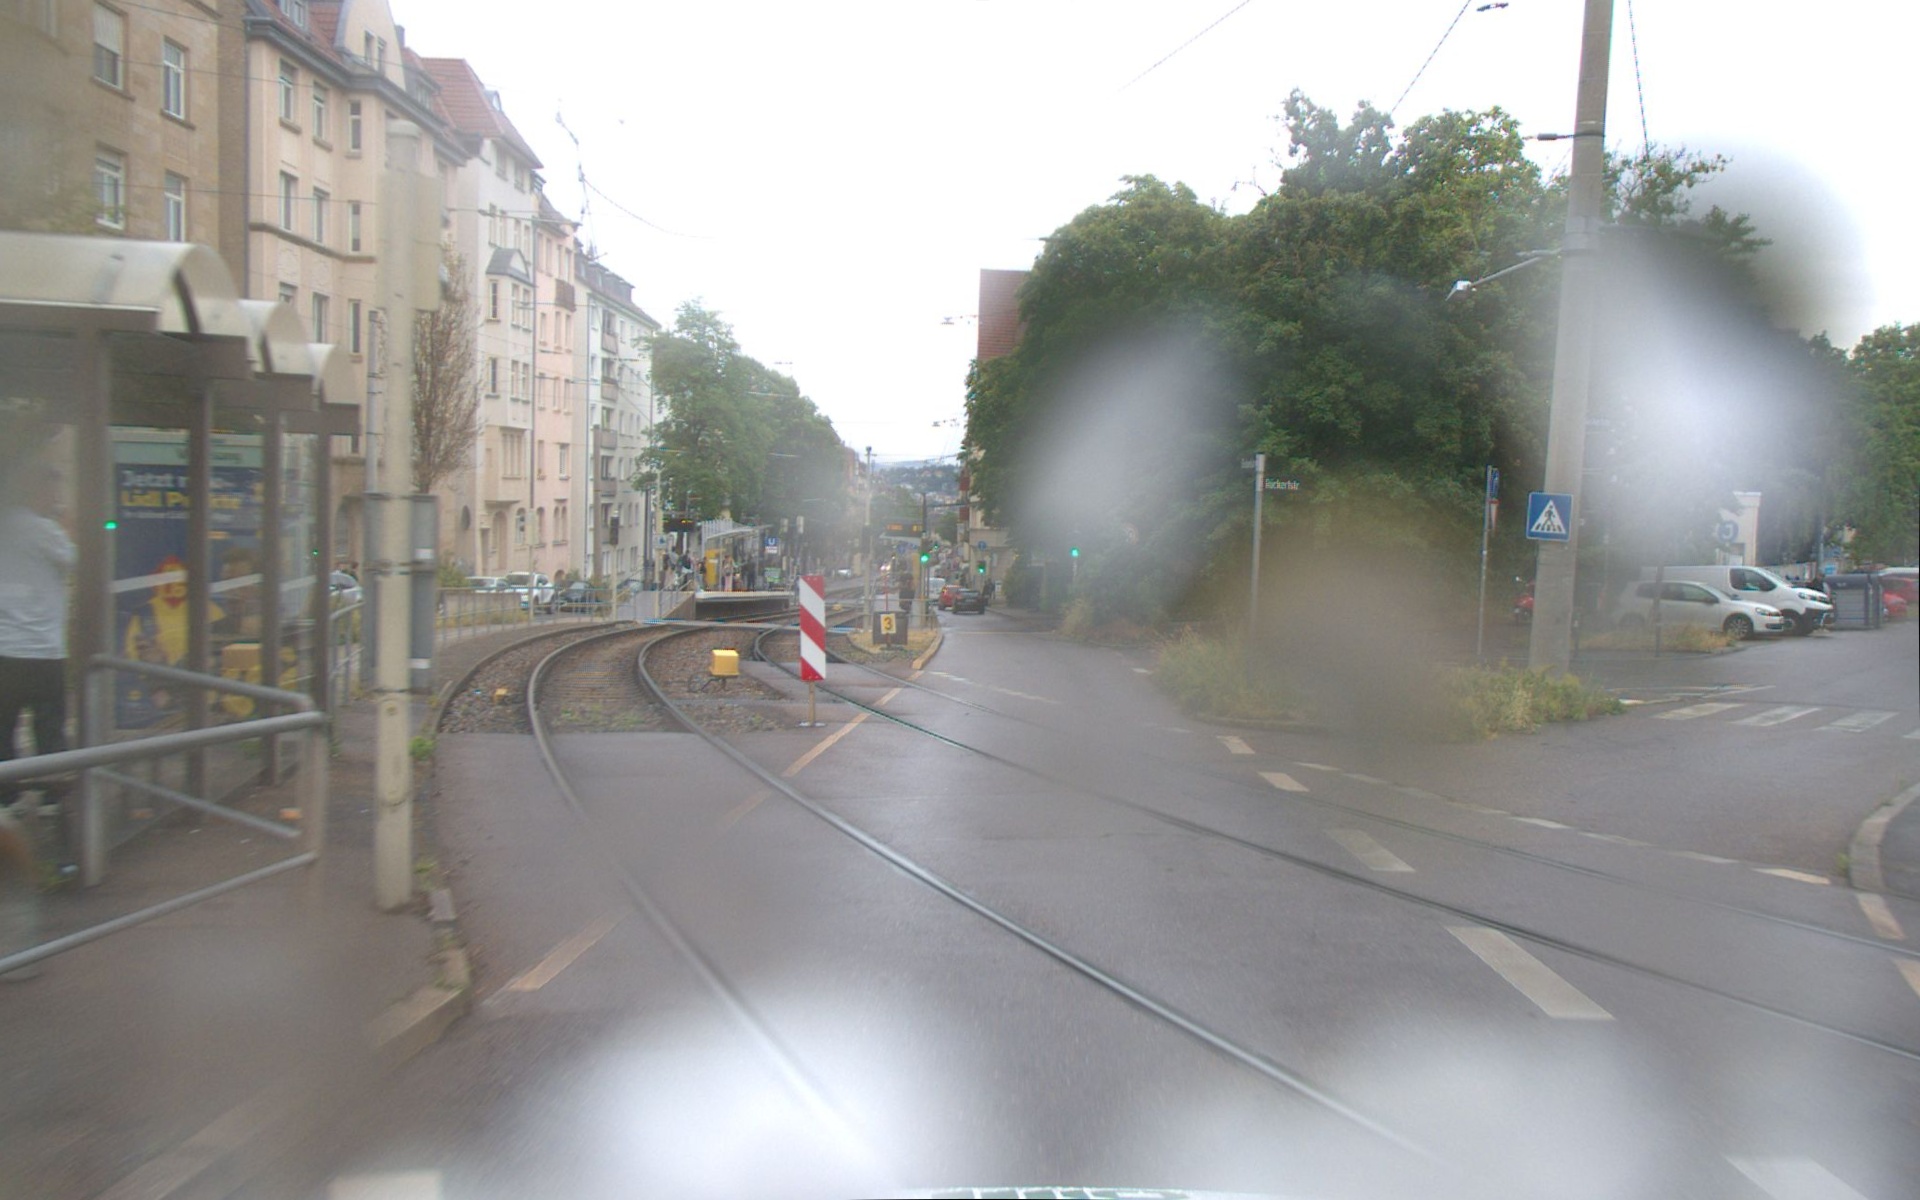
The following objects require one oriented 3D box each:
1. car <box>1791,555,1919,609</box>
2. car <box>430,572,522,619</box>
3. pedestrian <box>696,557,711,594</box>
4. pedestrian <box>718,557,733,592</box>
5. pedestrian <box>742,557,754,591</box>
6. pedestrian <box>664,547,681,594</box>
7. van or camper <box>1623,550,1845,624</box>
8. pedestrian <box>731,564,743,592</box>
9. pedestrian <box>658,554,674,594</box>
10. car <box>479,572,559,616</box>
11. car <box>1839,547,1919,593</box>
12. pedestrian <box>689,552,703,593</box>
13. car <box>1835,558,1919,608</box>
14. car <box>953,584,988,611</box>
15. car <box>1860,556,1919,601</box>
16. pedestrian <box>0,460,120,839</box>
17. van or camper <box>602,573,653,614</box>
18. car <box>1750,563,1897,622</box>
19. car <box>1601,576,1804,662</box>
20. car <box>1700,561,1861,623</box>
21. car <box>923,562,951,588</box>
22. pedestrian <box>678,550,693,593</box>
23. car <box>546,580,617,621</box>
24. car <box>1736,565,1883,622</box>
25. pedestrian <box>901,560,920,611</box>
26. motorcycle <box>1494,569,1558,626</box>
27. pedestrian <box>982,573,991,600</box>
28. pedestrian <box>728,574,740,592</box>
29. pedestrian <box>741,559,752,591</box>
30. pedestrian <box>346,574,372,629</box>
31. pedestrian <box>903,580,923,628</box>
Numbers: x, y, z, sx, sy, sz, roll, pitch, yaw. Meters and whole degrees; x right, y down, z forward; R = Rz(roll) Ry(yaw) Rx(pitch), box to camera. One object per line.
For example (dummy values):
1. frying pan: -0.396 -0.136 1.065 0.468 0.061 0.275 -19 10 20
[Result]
1. car: 31.641 -0.648 58.266 3.928 1.802 1.837 2 2 41
2. car: -17.519 -0.135 60.074 1.953 1.559 4.532 3 -1 0
3. pedestrian: -12.043 -1.157 77.753 0.582 1.695 0.762 -1 0 -1
4. pedestrian: -11.517 -1.247 81.191 0.582 1.695 0.762 -1 0 -1
5. pedestrian: -11.258 -1.386 87.982 0.539 1.771 0.614 -1 0 -1
6. pedestrian: -11.608 -1.184 66.809 0.549 1.882 0.598 -1 0 -1
7. van or camper: 20.868 -0.328 44.736 5.092 1.866 1.987 -1 0 44
8. pedestrian: -11.704 -1.155 86.720 0.539 1.438 0.614 -1 0 -1
9. pedestrian: -11.968 -1.054 67.377 0.505 1.633 0.563 -1 0 -1
10. car: -17.475 -0.267 65.705 1.883 1.650 4.535 -1 1 1
11. car: 37.399 -1.209 65.874 3.928 1.802 1.837 2 2 41
12. pedestrian: -12.010 -1.237 75.217 0.505 1.870 0.762 -1 0 -1
13. car: 35.123 -0.659 61.864 3.928 1.802 1.837 2 2 41
14. car: 0.597 -0.151 94.799 1.814 1.499 3.999 0 1 -2
15. car: 39.601 -0.887 68.350 3.928 1.802 1.837 2 2 41
16. pedestrian: -4.526 0.234 8.070 0.566 1.782 0.542 2 0 -12
17. van or camper: -17.476 -0.369 86.971 1.953 2.049 3.999 0 1 -2
18. car: 28.043 -0.282 53.758 3.928 1.802 1.837 2 2 41
19. car: 19.100 0.447 42.645 4.422 2.049 1.991 2 0 38
20. car: 23.625 -0.222 47.677 3.832 1.713 1.729 -1 0 40
21. car: -1.681 -1.779 119.673 1.909 1.824 4.142 1 0 -3
22. pedestrian: -11.911 -1.227 71.679 0.505 1.870 0.762 -1 0 -1
23. car: -17.048 0.027 74.712 1.952 1.762 4.814 -1 0 2
24. car: 26.709 -0.190 52.072 3.832 1.713 1.729 -1 0 40
25. pedestrian: -1.792 -0.523 59.657 0.637 1.815 0.847 0 0 -1
26. motorcycle: 14.998 -0.060 43.810 0.809 1.398 2.419 6 3 37
27. pedestrian: 1.843 -0.924 113.403 0.543 1.845 0.650 1 0 -4
28. pedestrian: -11.716 -0.876 85.821 0.539 0.887 0.614 -1 0 -1
29. pedestrian: -11.805 -1.385 91.446 0.472 1.771 0.563 -1 0 -1
30. pedestrian: -17.201 0.045 47.353 0.509 1.558 0.620 0 0 0
31. pedestrian: -1.571 0.128 55.377 0.637 1.589 0.684 0 0 -1
